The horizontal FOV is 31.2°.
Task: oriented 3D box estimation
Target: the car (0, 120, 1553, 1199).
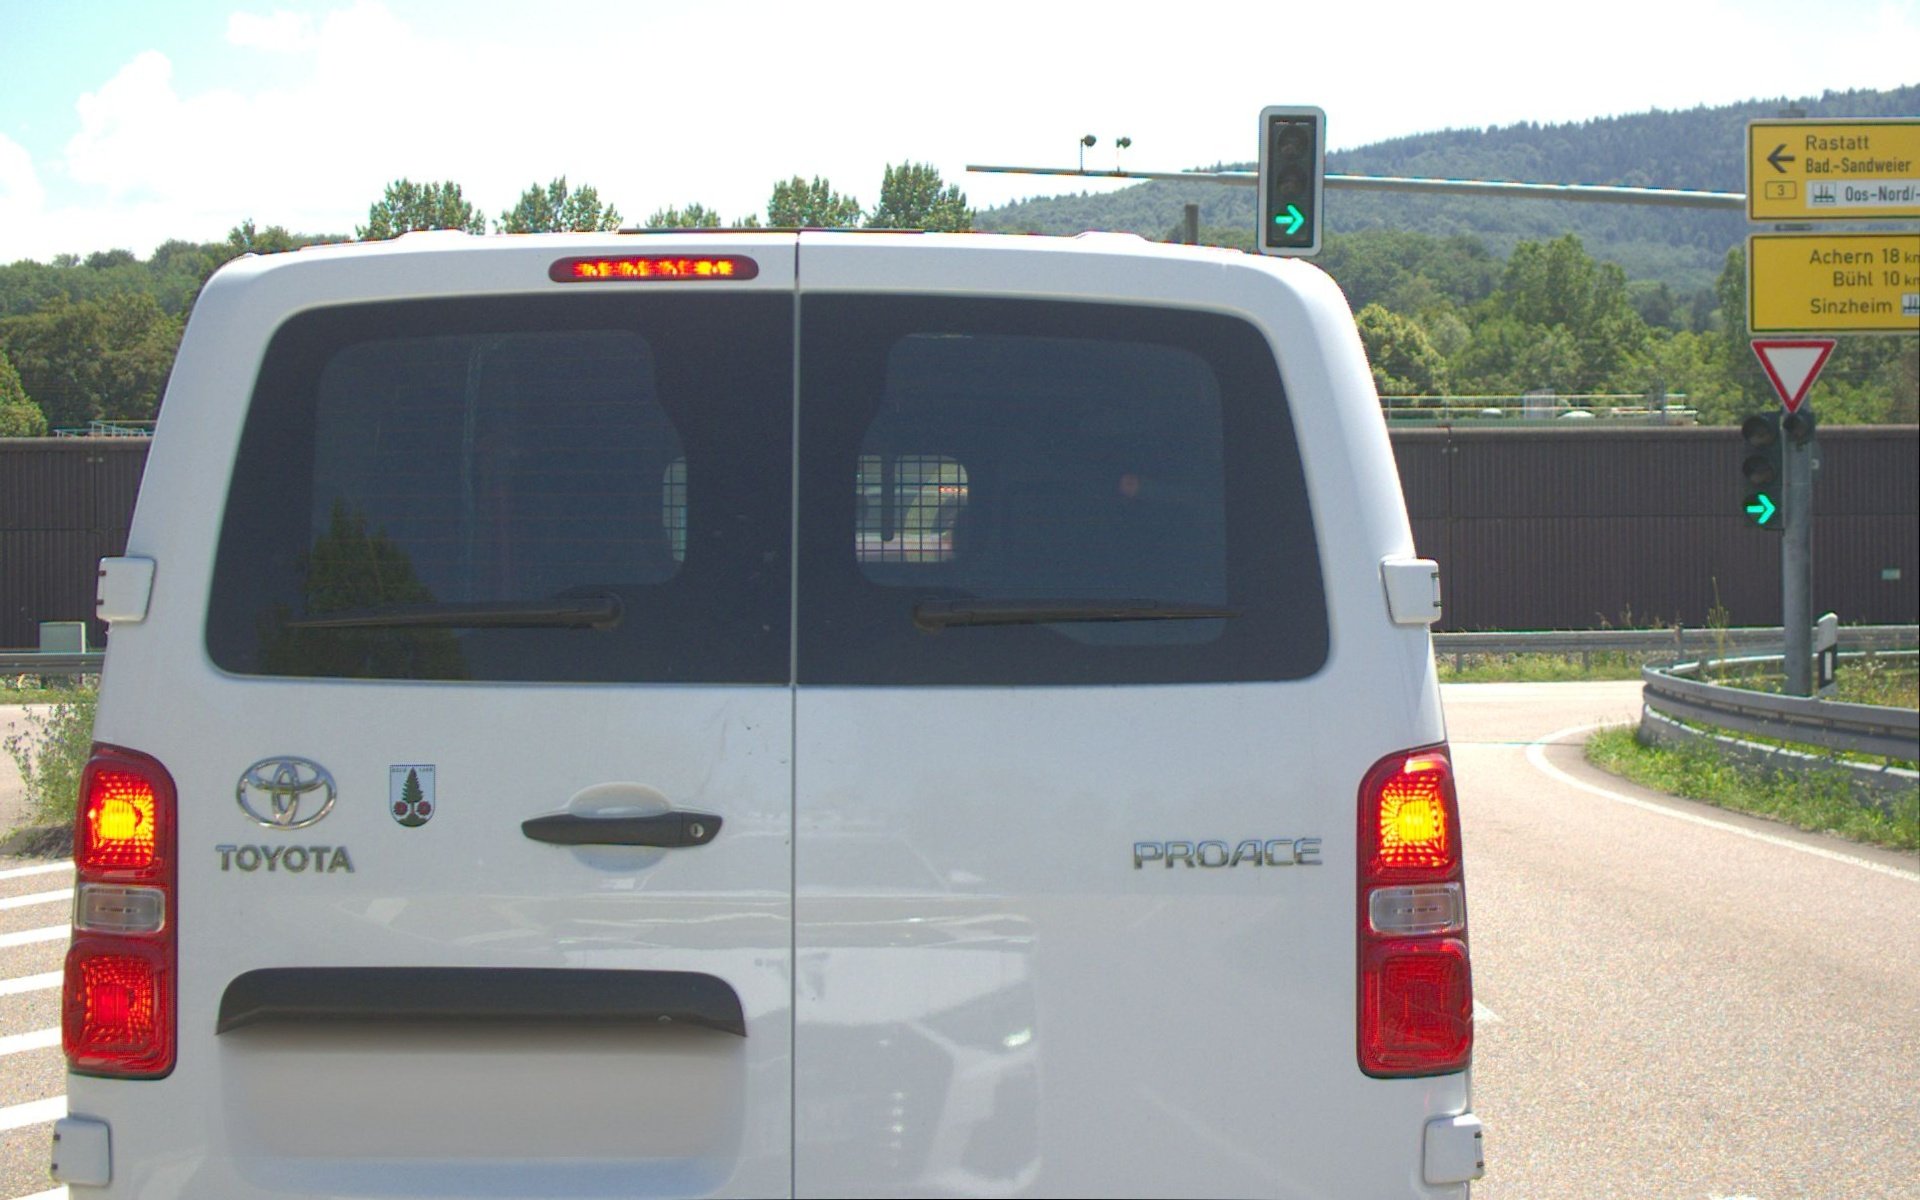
[{"bbox_3d":[-0.254,0.438,5.948,1.814,2.011,4.000,0,1,-1],"label":"car"}]
